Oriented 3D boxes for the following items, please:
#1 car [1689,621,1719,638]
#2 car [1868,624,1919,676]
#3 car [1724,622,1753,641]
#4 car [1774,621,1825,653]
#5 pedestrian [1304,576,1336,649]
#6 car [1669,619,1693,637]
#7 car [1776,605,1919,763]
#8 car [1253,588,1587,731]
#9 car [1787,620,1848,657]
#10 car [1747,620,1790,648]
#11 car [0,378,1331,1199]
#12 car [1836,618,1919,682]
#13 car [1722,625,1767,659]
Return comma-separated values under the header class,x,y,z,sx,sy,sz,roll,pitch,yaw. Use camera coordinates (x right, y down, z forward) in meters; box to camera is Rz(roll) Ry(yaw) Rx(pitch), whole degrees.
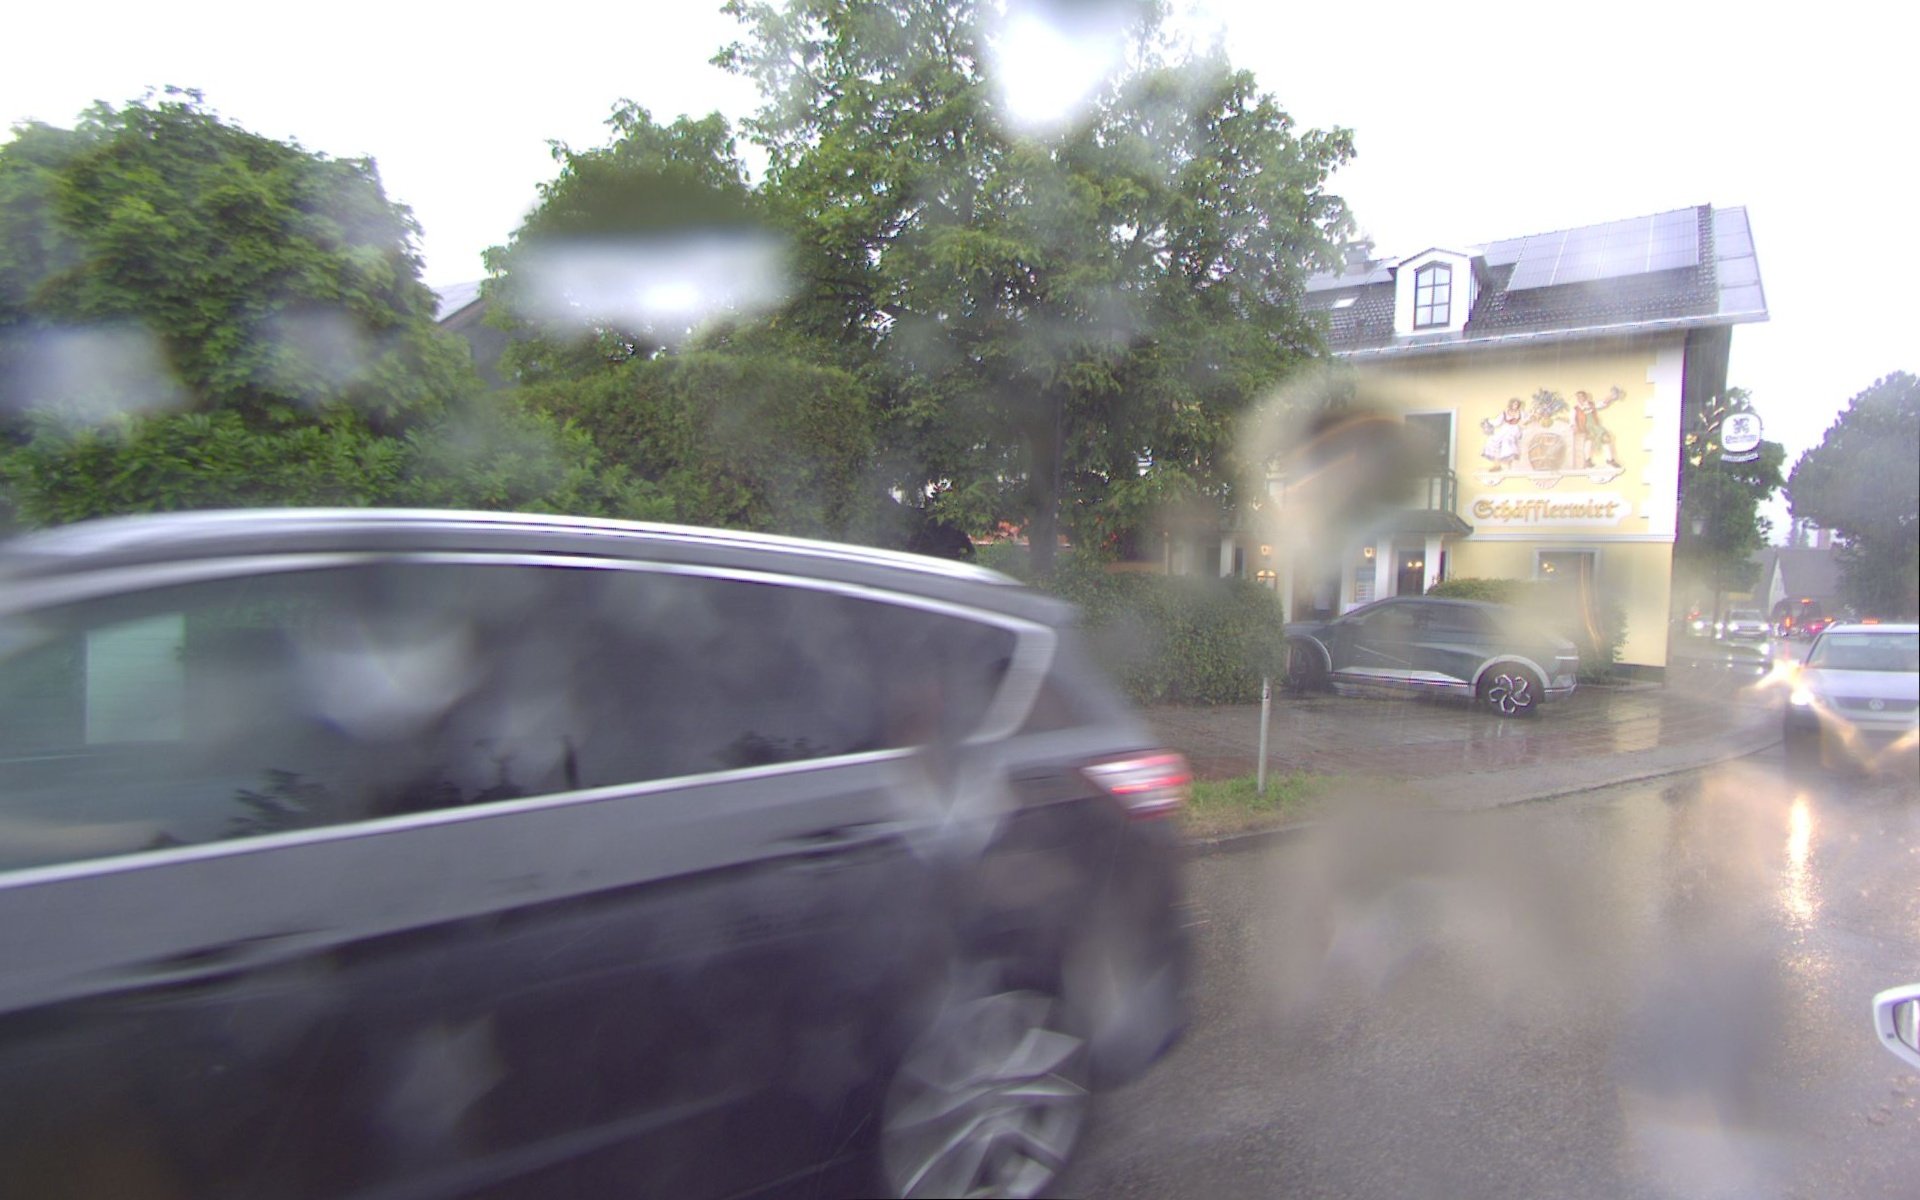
class,x,y,z,sx,sy,sz,roll,pitch,yaw
car,63.417,2.492,85.663,1.837,1.377,4.469,0,0,34
car,39.880,2.086,41.970,2.140,1.925,4.998,3,2,34
car,87.296,3.480,112.697,2.140,1.925,4.998,3,2,34
car,57.934,2.504,69.432,2.140,1.925,4.998,3,2,34
pedestrian,8.793,0.300,24.542,0.484,1.712,0.552,6,4,38
car,73.086,2.828,101.845,1.838,1.781,4.468,-2,-2,36
car,11.542,0.965,12.411,3.971,1.699,1.737,2,-2,-43
car,7.059,0.784,15.600,4.413,1.589,1.834,6,5,33
car,51.212,2.262,60.064,2.140,1.925,4.998,3,2,34
car,63.406,2.630,78.807,2.140,1.925,4.998,3,2,34
car,-1.217,0.585,2.525,4.147,1.768,1.911,2,1,-33
car,25.513,1.347,27.640,1.564,1.631,3.530,1,-1,32
car,49.602,2.642,63.545,1.825,1.997,4.689,0,-2,33
